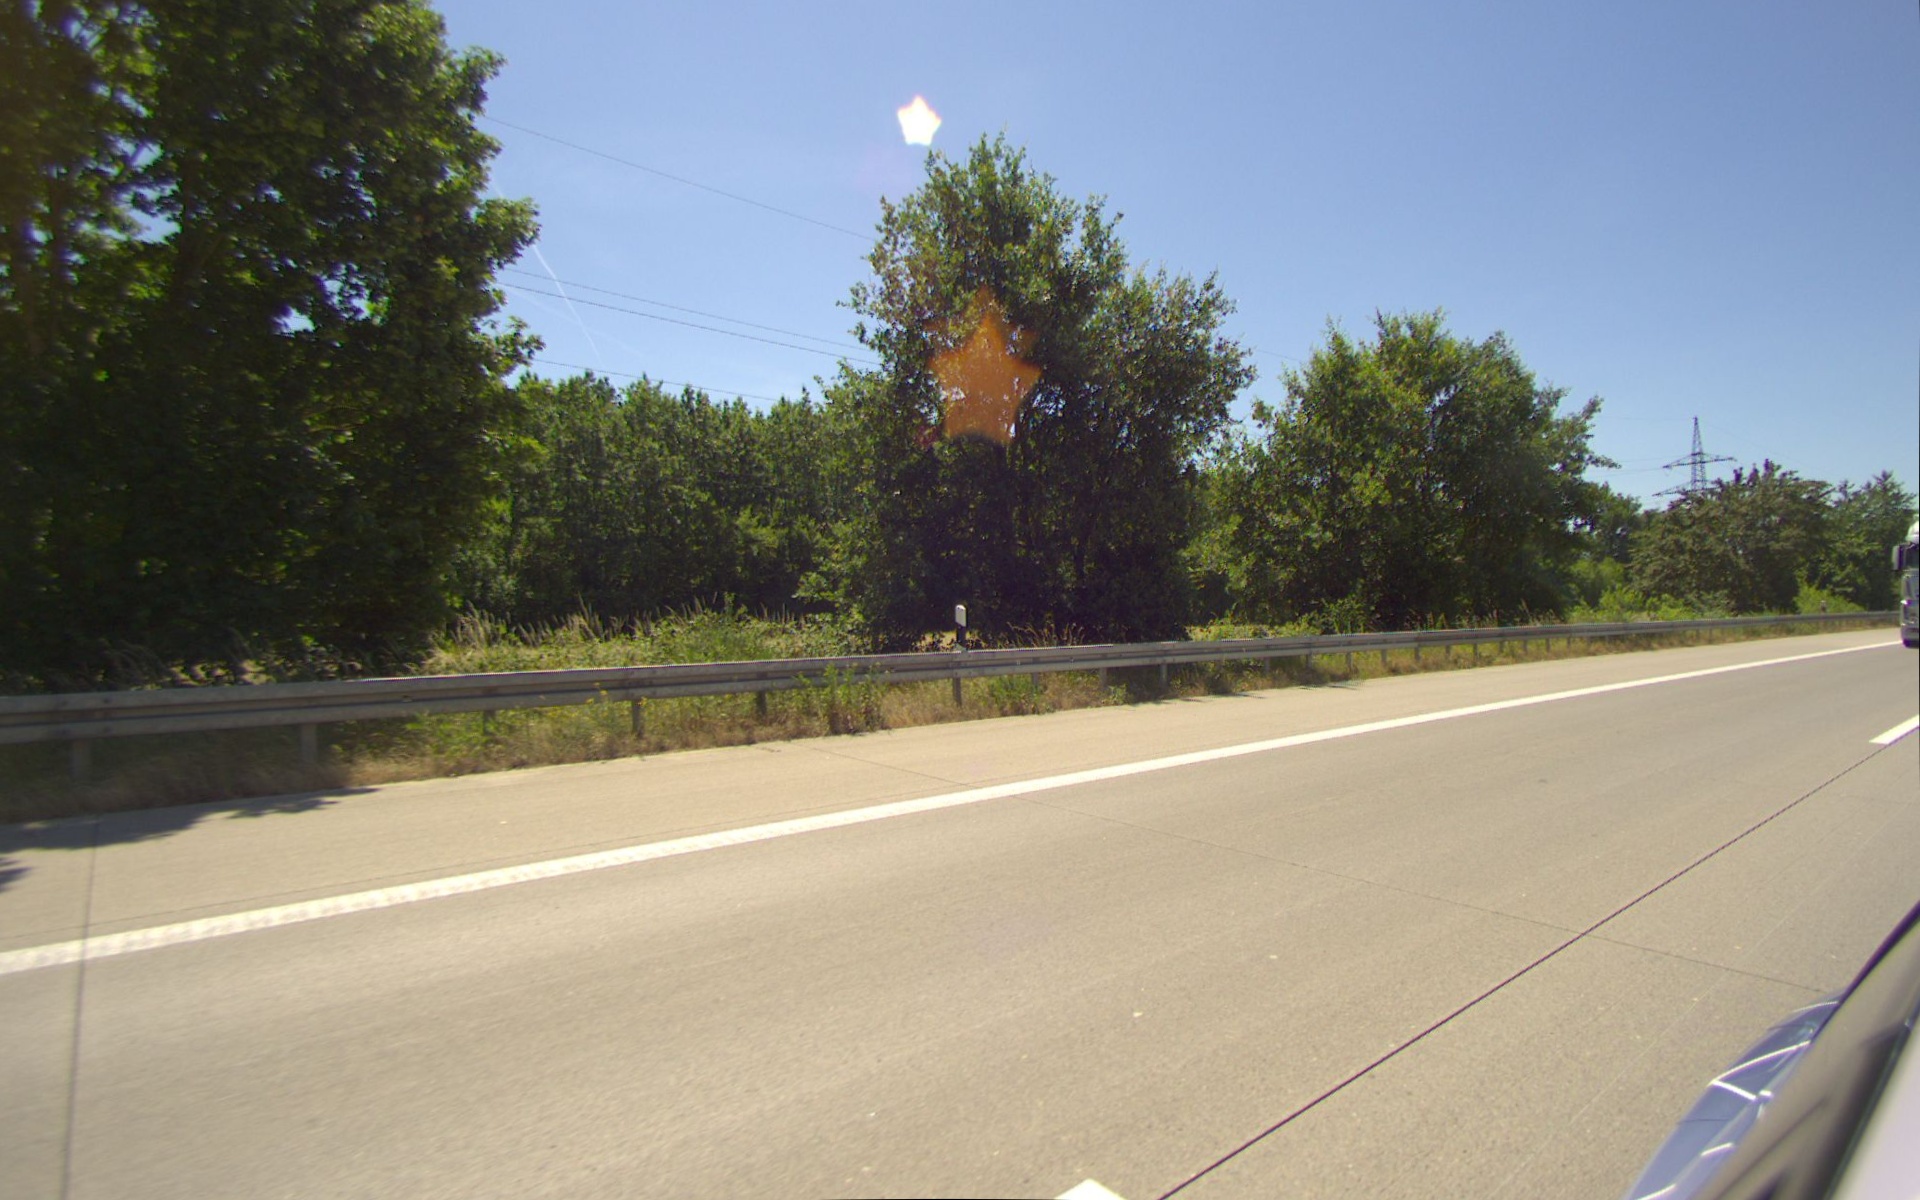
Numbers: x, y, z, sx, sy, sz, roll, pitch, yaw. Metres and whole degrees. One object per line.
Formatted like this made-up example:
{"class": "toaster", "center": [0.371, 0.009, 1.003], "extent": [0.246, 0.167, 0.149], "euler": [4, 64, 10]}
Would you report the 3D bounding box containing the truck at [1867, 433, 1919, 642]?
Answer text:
{"class": "truck", "center": [34.654, -1.794, 33.436], "extent": [17.911, 5.863, 3.585], "euler": [0, -3, -38]}
